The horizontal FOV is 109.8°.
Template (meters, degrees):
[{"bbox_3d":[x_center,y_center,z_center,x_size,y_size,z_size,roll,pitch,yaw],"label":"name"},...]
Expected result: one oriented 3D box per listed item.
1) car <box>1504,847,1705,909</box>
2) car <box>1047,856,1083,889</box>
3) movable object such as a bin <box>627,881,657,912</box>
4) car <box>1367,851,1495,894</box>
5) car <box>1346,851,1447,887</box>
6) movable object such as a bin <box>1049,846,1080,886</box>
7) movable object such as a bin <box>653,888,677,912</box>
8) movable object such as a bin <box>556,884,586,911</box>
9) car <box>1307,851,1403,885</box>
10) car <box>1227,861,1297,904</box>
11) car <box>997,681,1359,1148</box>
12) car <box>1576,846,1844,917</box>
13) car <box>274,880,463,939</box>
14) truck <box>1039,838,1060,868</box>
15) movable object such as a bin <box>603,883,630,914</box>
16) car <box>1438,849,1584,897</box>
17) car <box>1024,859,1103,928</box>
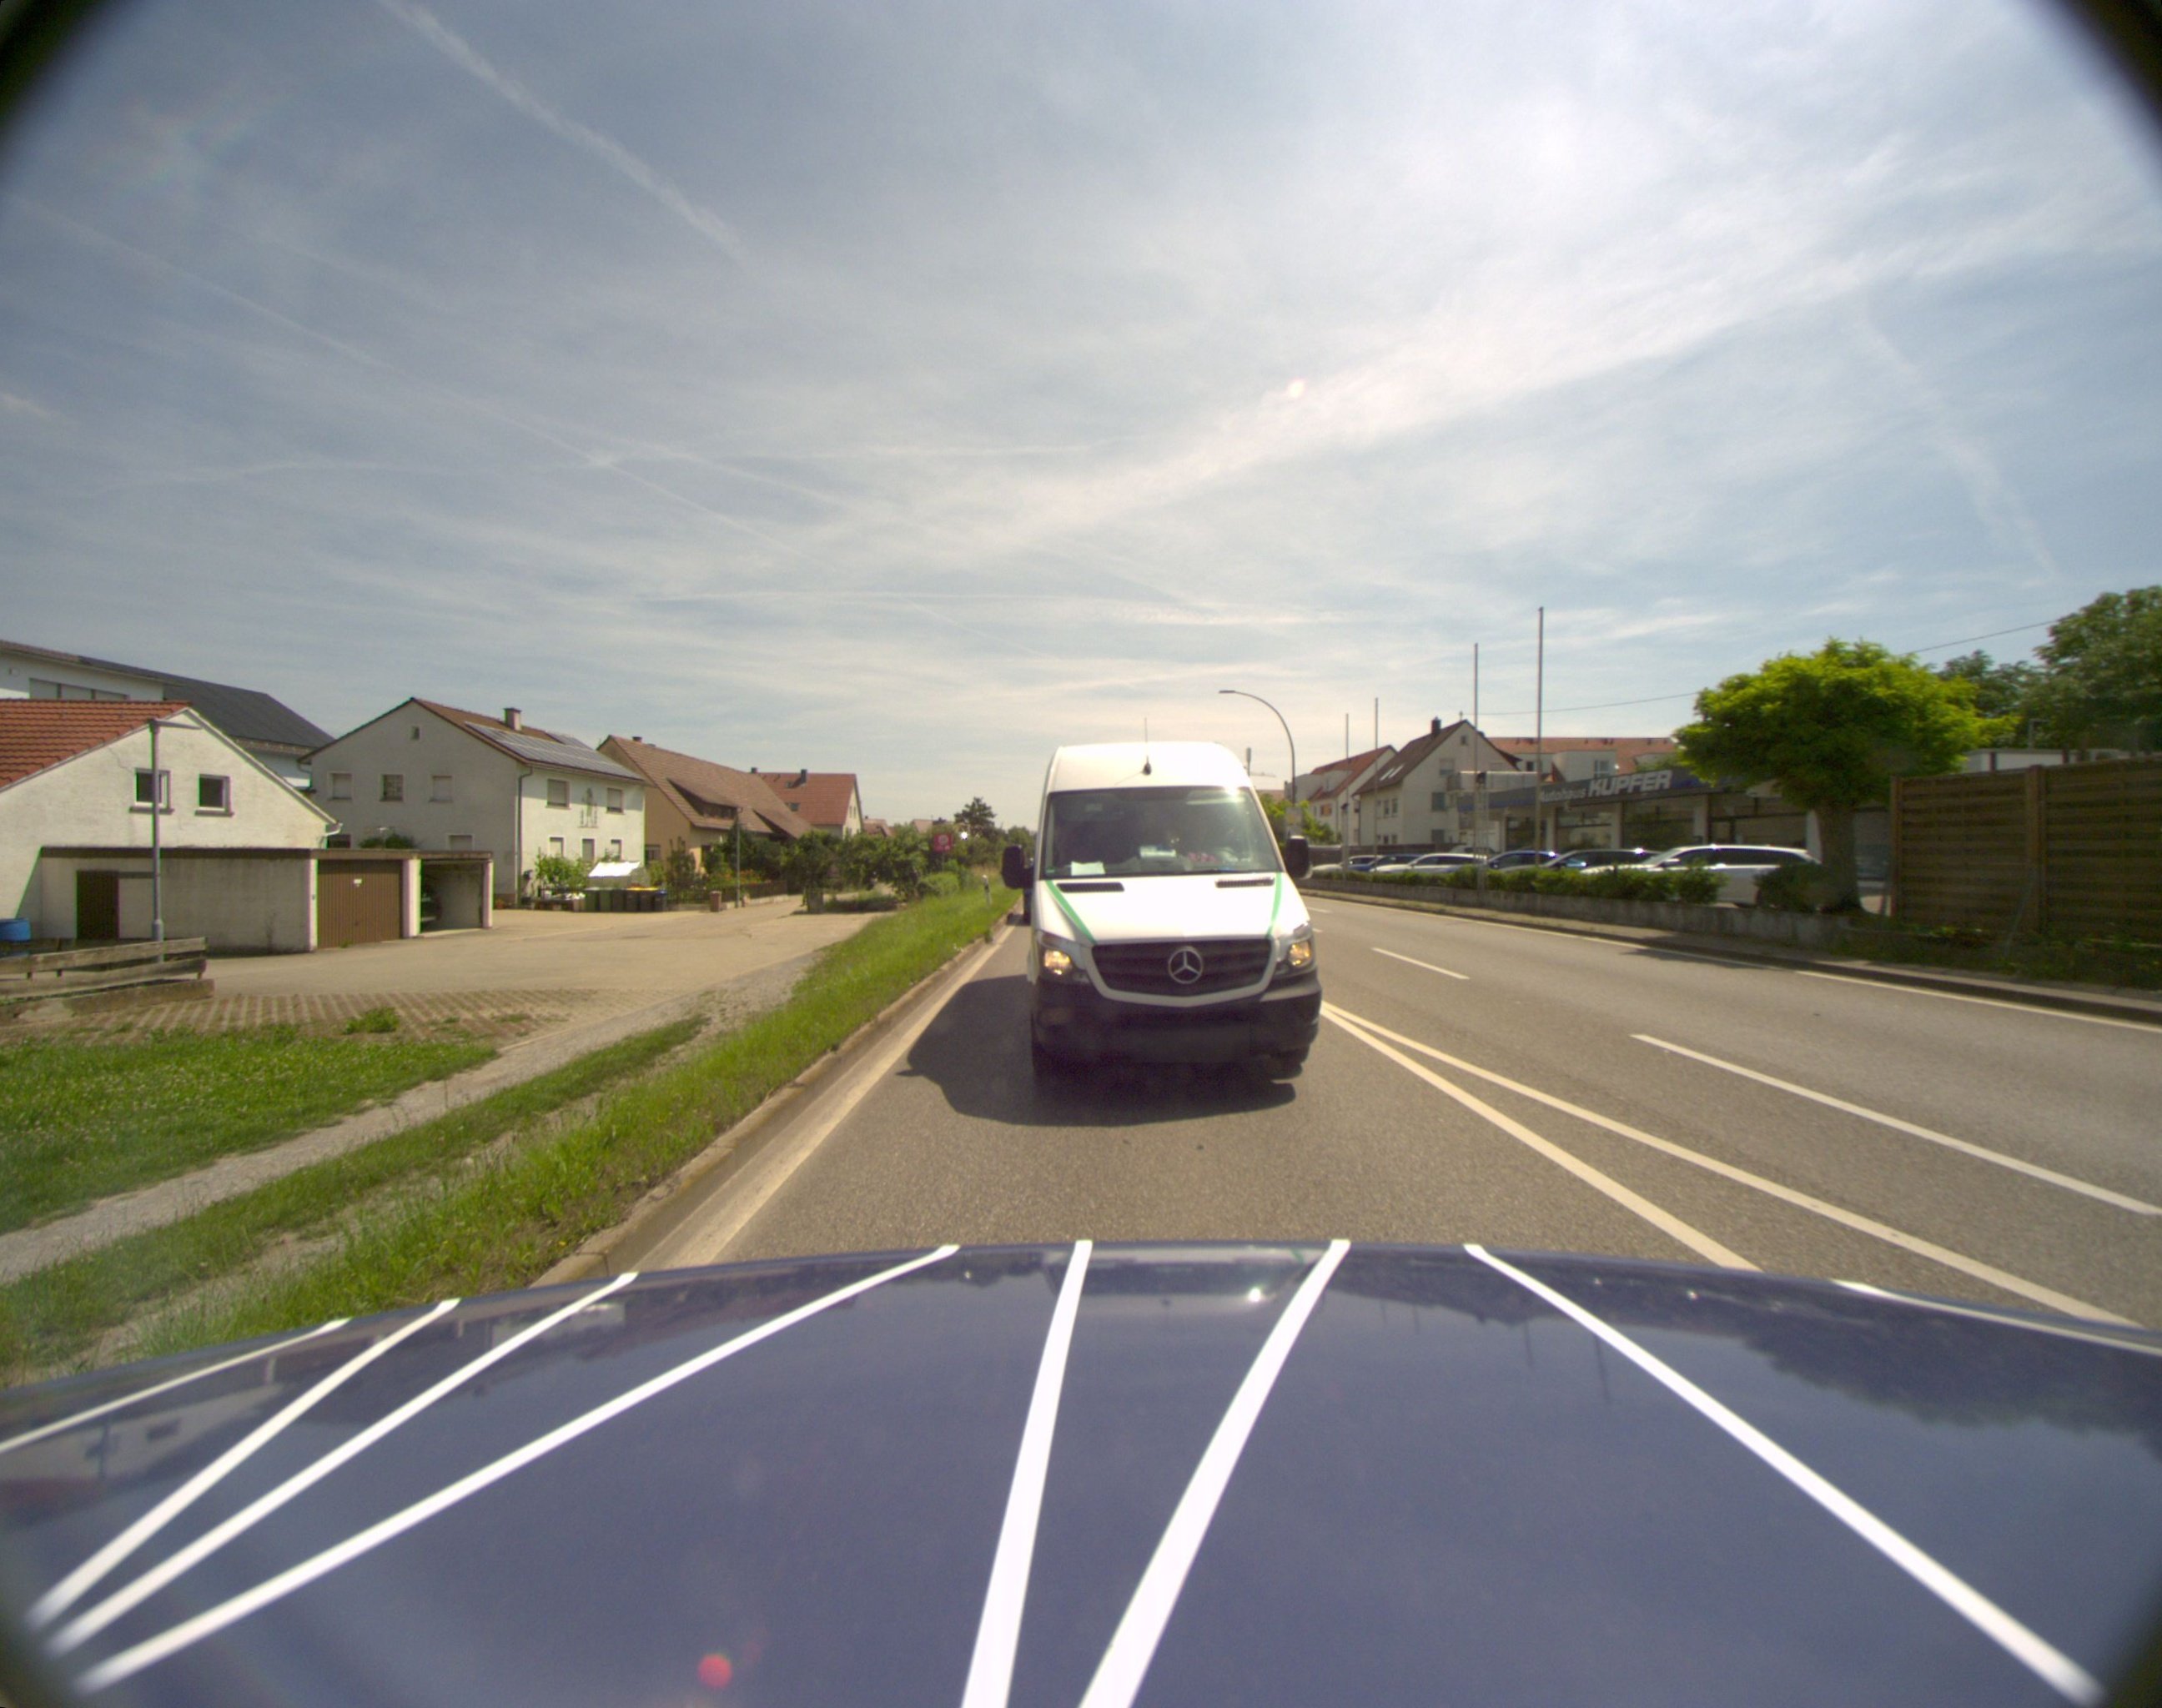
[{"bbox_3d":[14.226,0.661,20.974,4.251,1.536,1.853,-2,0,23],"label":"car"},{"bbox_3d":[-0.857,0.958,40.567,1.824,1.637,3.901,-1,0,-1],"label":"car"},{"bbox_3d":[-19.863,1.910,34.380,0.765,1.362,0.946,-2,0,-1],"label":"movable object such as a bin"},{"bbox_3d":[13.487,0.718,29.348,4.303,1.510,2.003,-2,0,27],"label":"car"},{"bbox_3d":[13.905,0.645,33.493,3.990,1.455,2.003,-2,0,26],"label":"car"},{"bbox_3d":[-1.168,0.860,55.493,1.998,2.710,5.419,-1,0,1],"label":"movable object such as a bin"},{"bbox_3d":[-18.855,2.066,34.474,0.645,1.021,0.756,-2,0,-1],"label":"movable object such as a bin"},{"bbox_3d":[-23.085,1.957,34.390,0.740,1.149,0.830,-2,0,-1],"label":"movable object such as a bin"},{"bbox_3d":[13.571,0.677,37.610,4.255,1.521,2.003,-2,0,26],"label":"car"},{"bbox_3d":[6.302,0.955,26.812,1.626,1.373,3.560,-2,0,1],"label":"car"},{"bbox_3d":[0.516,0.354,7.123,1.978,2.583,5.633,-2,0,-1],"label":"car"},{"bbox_3d":[13.991,0.612,17.269,4.329,1.451,1.858,-1,0,24],"label":"car"},{"bbox_3d":[-21.547,1.644,23.103,3.997,1.594,1.826,-1,0,0],"label":"car"},{"bbox_3d":[-4.181,-0.061,101.846,2.506,3.847,5.497,-2,0,-1],"label":"truck"},{"bbox_3d":[-21.202,2.013,34.678,0.678,1.330,0.820,-2,0,-1],"label":"movable object such as a bin"},{"bbox_3d":[13.942,0.618,24.934,3.990,1.433,1.857,-2,0,25],"label":"car"},{"bbox_3d":[-0.439,0.924,19.552,1.824,1.574,3.901,-1,0,-1],"label":"car"}]
